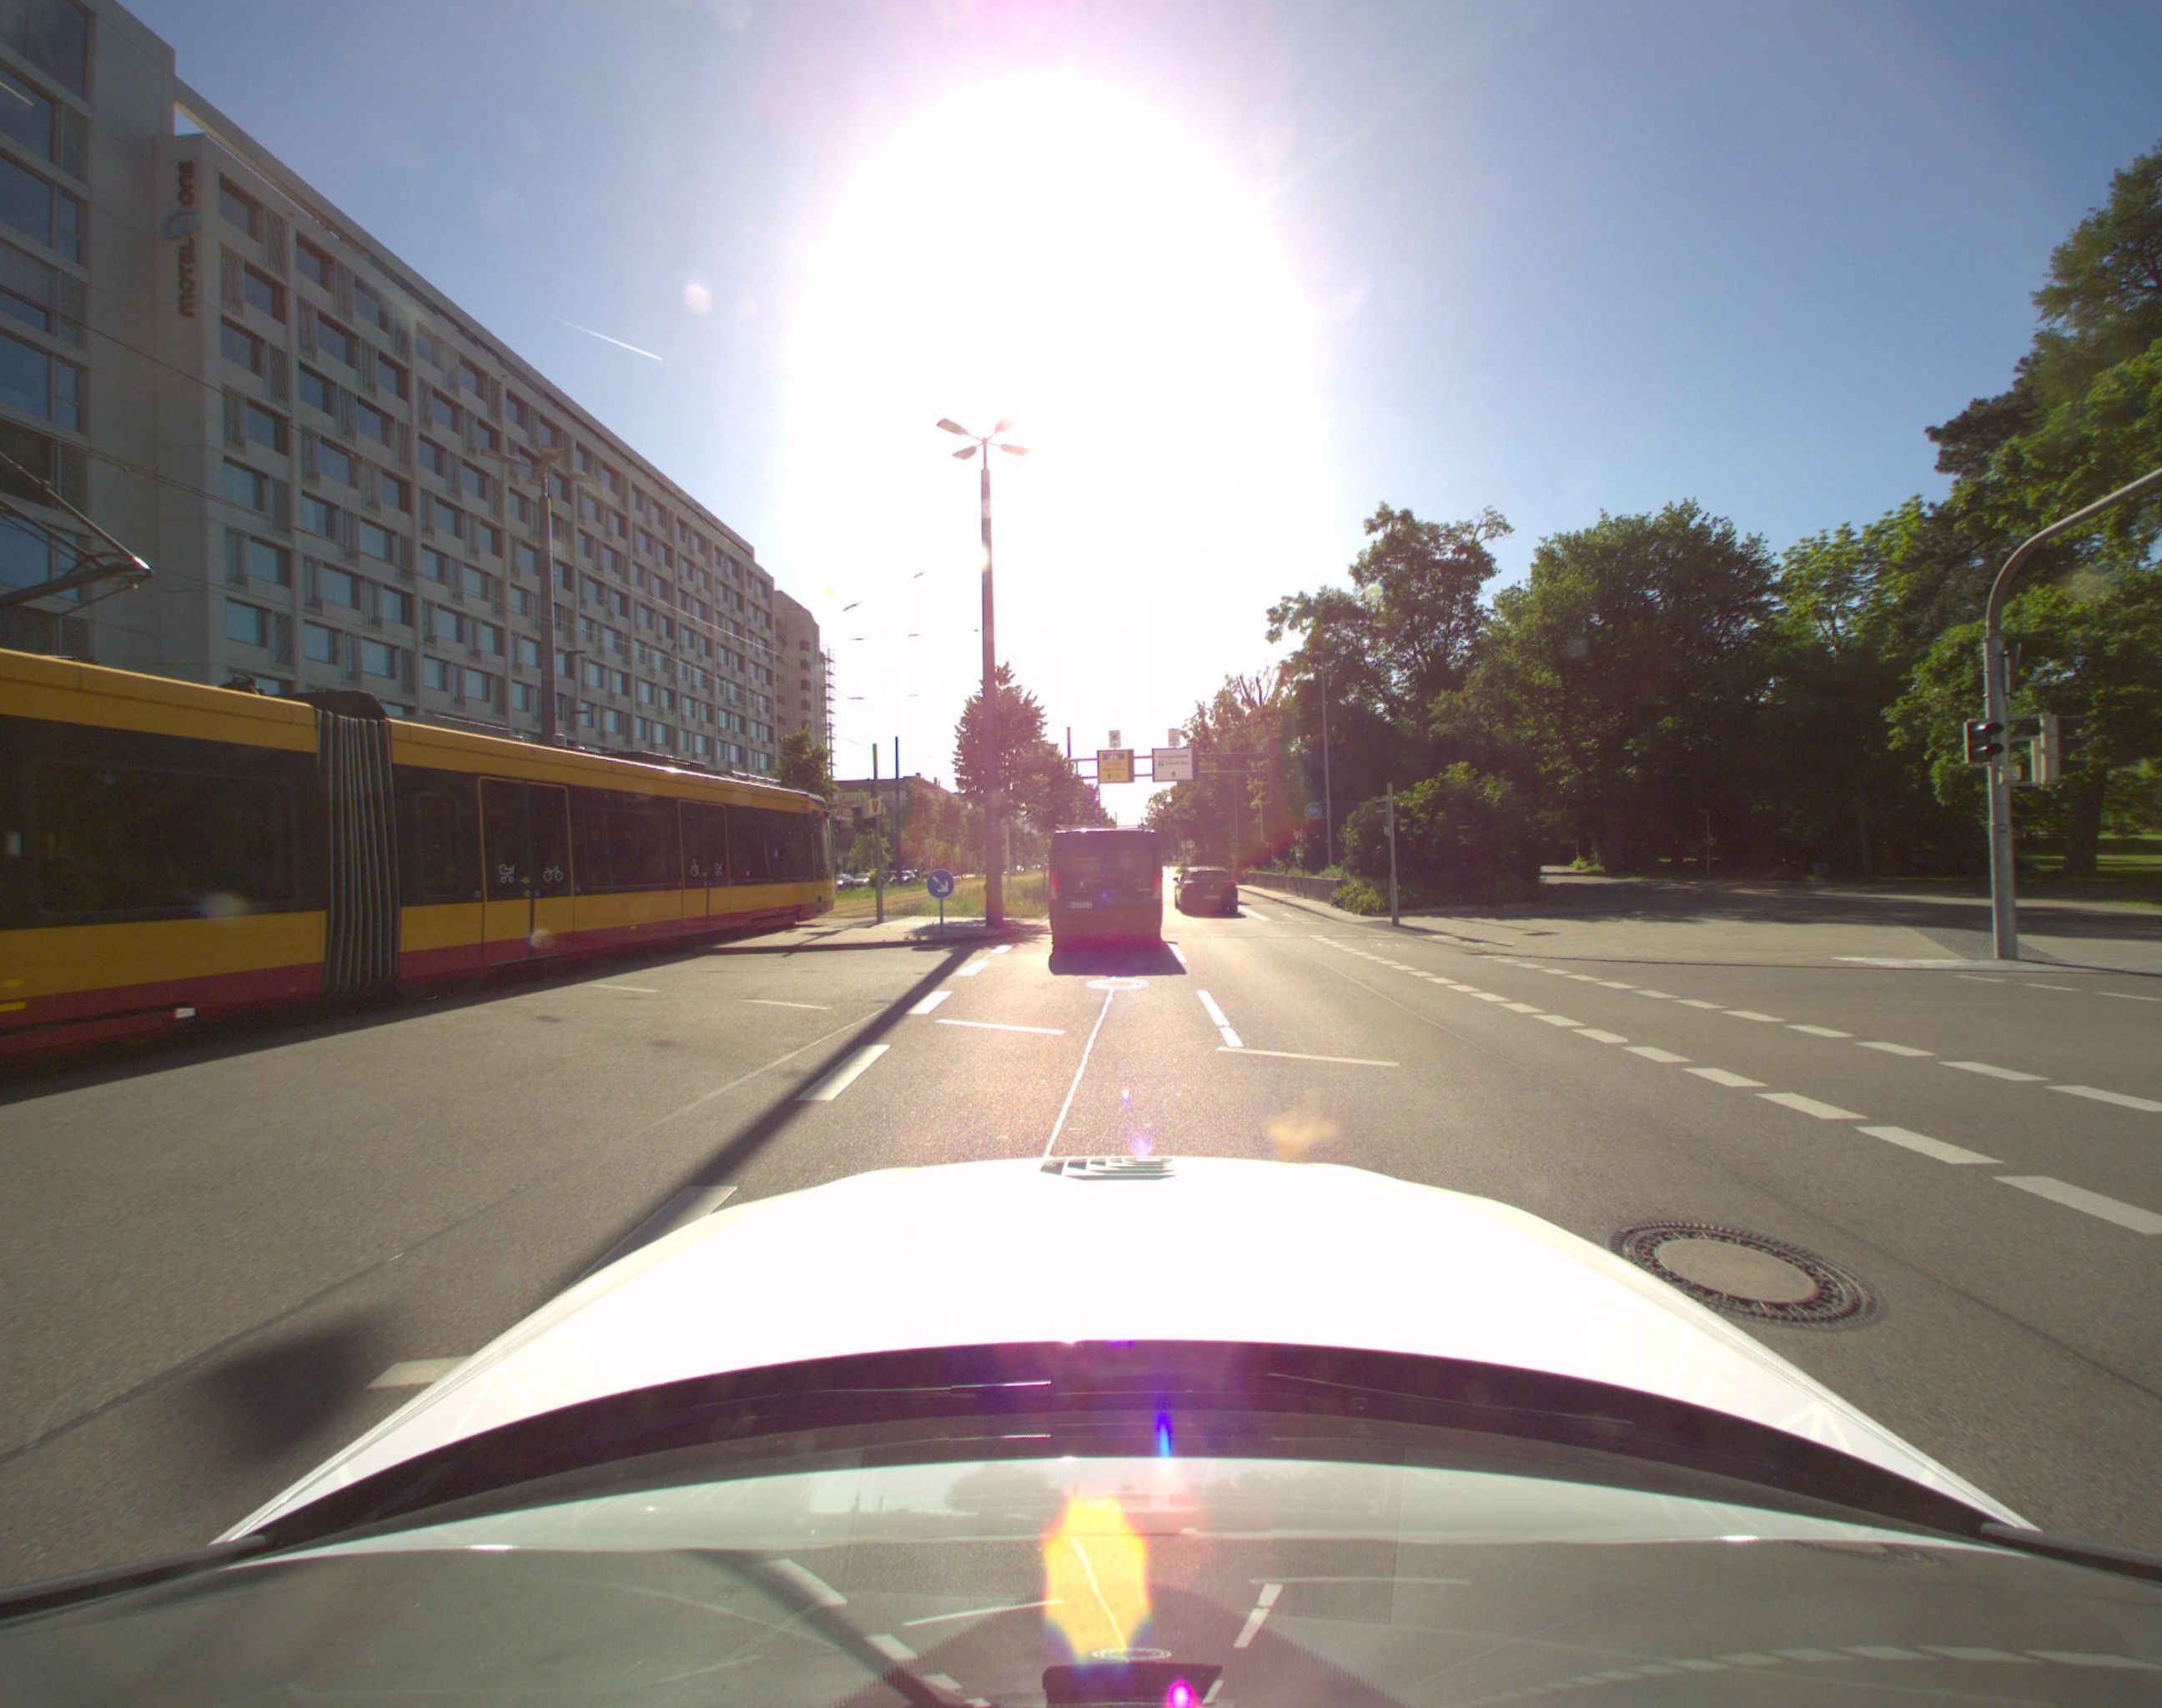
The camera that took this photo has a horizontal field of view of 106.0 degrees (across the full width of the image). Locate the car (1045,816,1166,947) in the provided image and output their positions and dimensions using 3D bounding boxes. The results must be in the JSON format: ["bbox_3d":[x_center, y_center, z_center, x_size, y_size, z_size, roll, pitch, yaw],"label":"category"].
[{"bbox_3d":[0.537,0.502,16.162,2.073,2.249,4.003,-1,-1,3],"label":"car"}]

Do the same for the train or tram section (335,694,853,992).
[{"bbox_3d":[-7.703,-0.063,15.920,1.983,3.669,11.703,-1,-1,6],"label":"train or tram section"}]

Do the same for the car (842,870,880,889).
[{"bbox_3d":[-19.388,2.247,71.913,1.984,1.552,4.006,-1,-1,5],"label":"car"}]

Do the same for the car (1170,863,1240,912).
[{"bbox_3d":[3.922,1.031,26.401,1.756,1.462,4.001,-1,-1,2],"label":"car"}]

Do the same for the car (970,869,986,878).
[{"bbox_3d":[-17.737,3.379,140.744,1.984,1.552,4.005,-1,-1,4],"label":"car"}]

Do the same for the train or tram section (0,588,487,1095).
[{"bbox_3d":[-8.964,-0.096,4.541,1.983,3.669,11.335,-1,-1,6],"label":"train or tram section"}]

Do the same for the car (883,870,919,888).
[{"bbox_3d":[-15.980,2.207,72.621,1.984,1.552,4.006,-1,-1,5],"label":"car"}]
